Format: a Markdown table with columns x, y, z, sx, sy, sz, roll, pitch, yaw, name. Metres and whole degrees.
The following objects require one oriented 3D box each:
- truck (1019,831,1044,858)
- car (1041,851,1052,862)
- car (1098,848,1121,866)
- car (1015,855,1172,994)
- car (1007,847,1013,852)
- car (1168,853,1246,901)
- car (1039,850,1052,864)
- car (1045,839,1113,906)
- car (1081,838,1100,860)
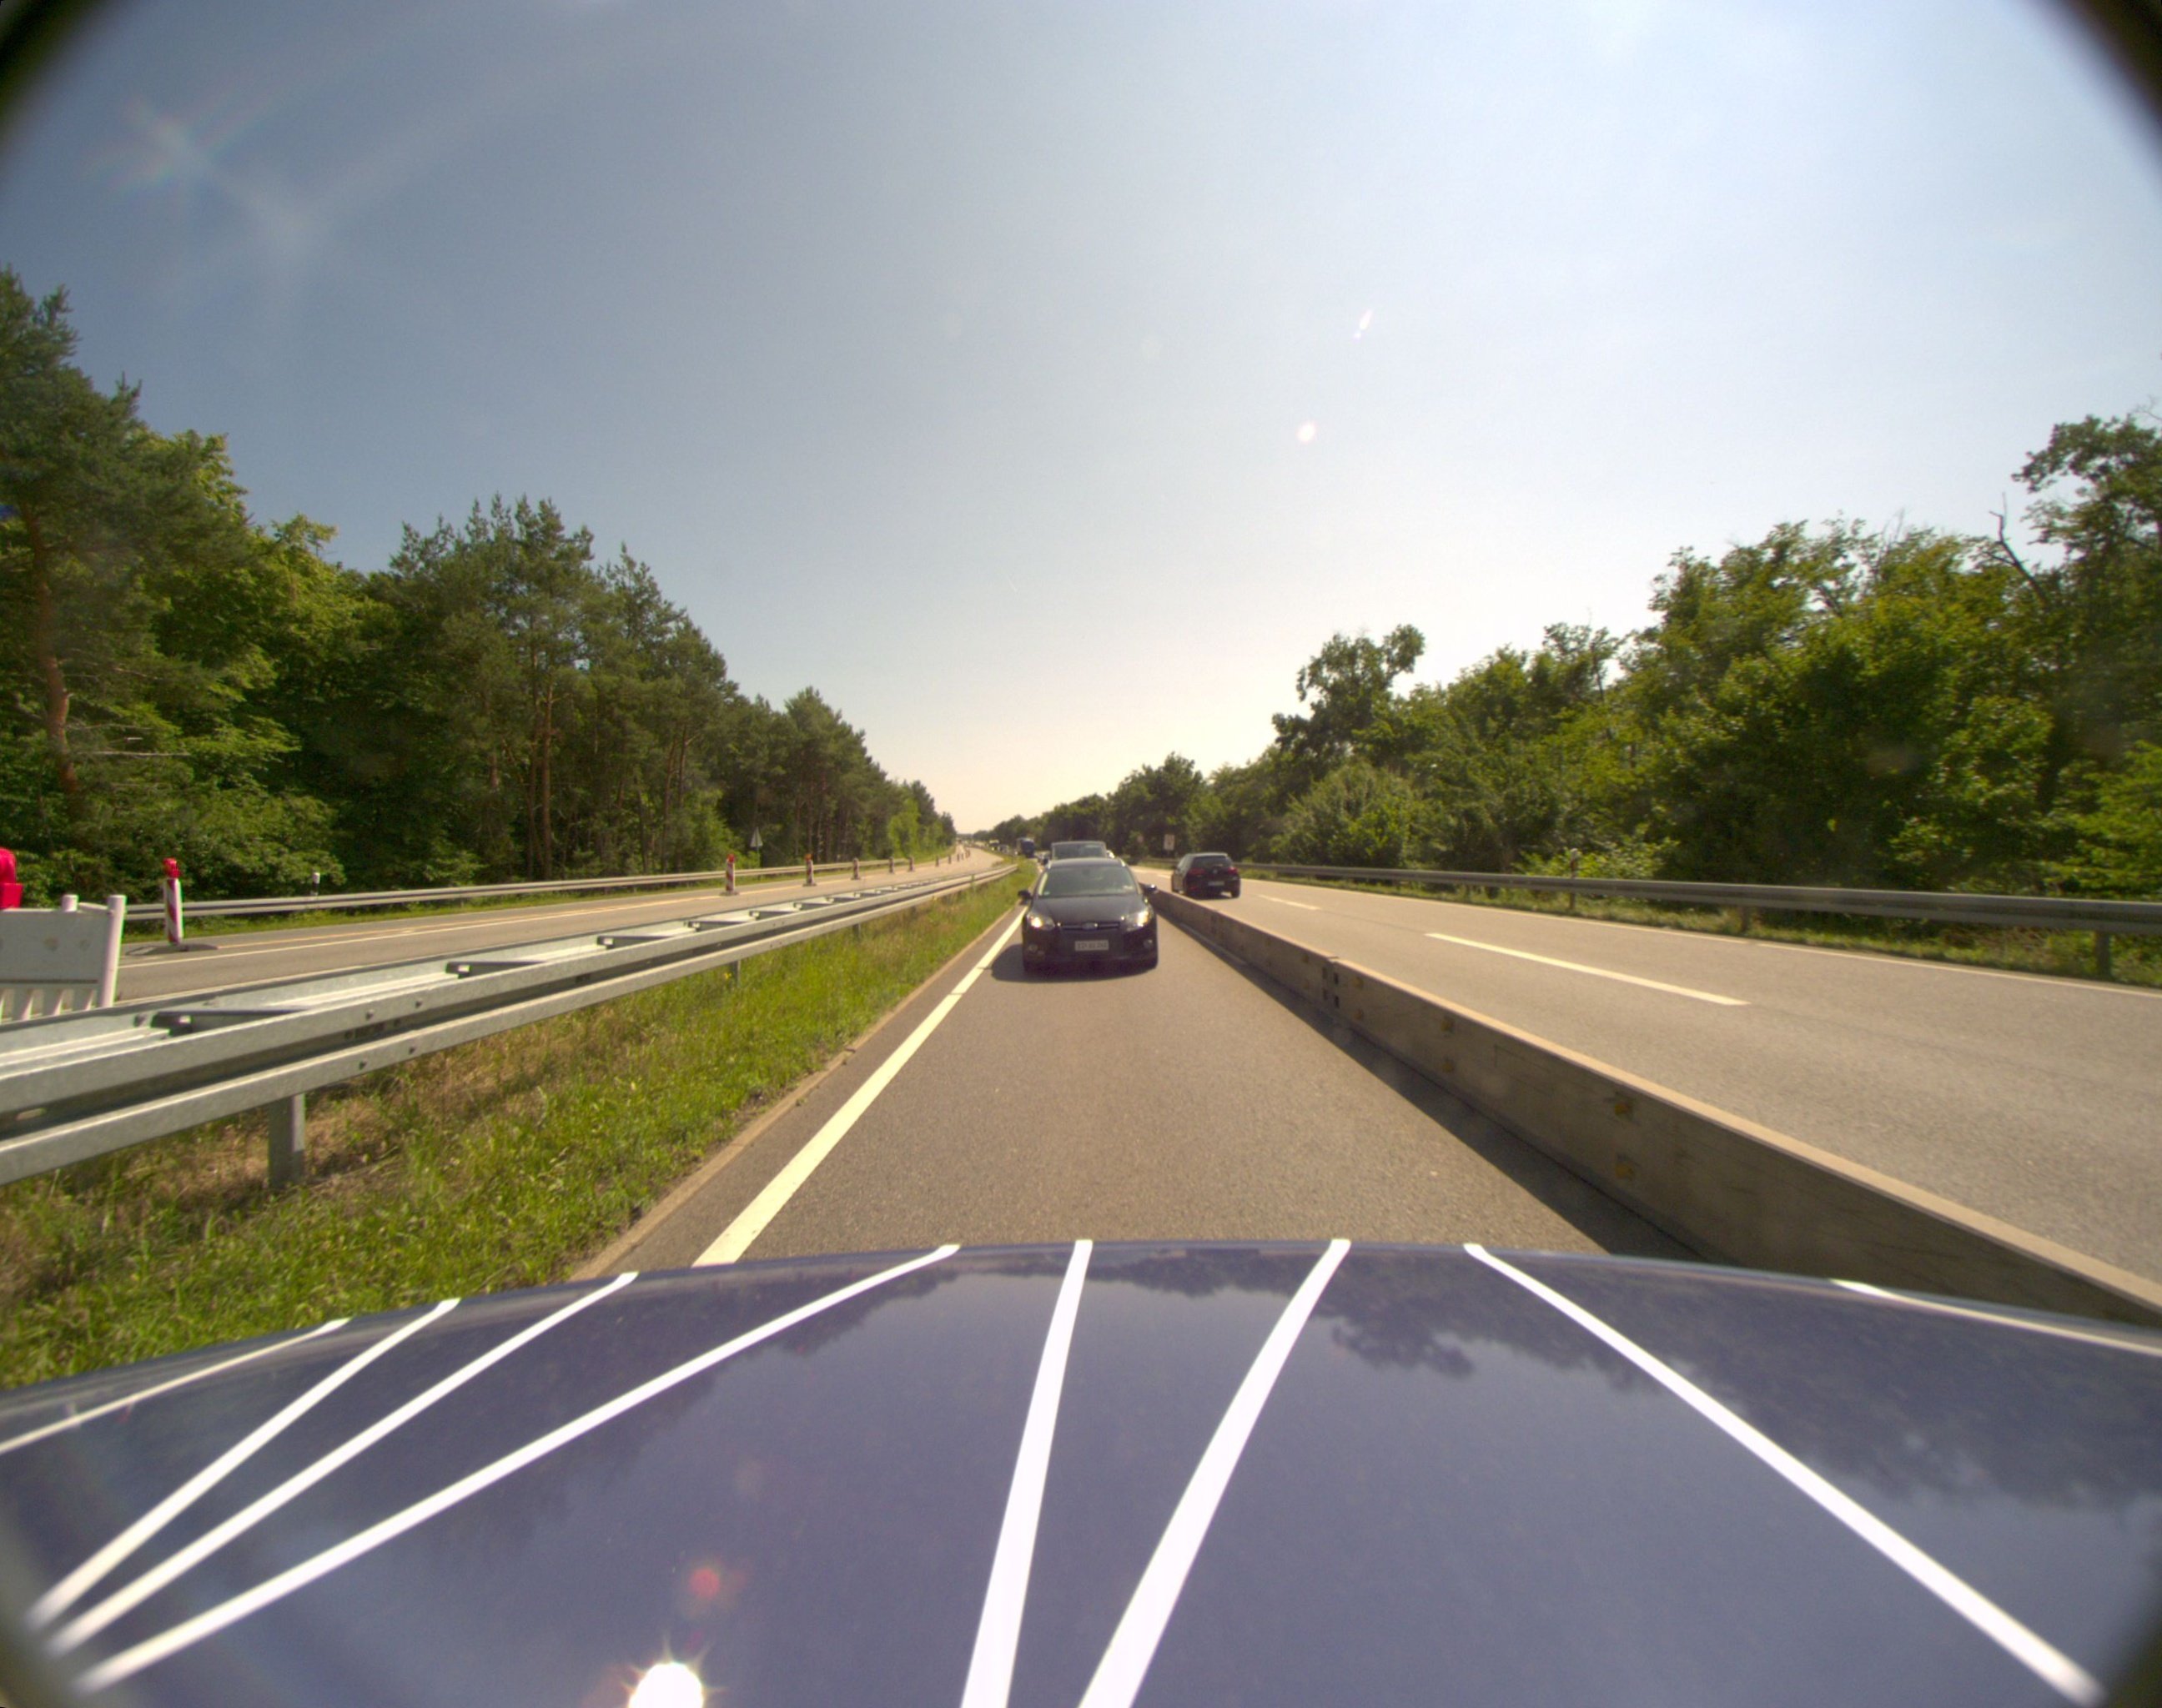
| x | y | z | sx | sy | sz | roll | pitch | yaw | name |
| --- | --- | --- | --- | --- | --- | --- | --- | --- | --- |
| -10.089 | -1.860 | 153.736 | 3.832 | 5.266 | 11.236 | -1 | 1 | -9 | truck |
| -5.038 | 0.323 | 110.205 | 1.527 | 1.647 | 3.753 | 0 | 0 | -3 | car |
| 2.583 | 0.236 | 69.863 | 1.853 | 1.592 | 4.321 | -1 | 1 | -1 | car |
| 0.025 | 0.853 | 11.650 | 1.847 | 1.537 | 4.933 | -2 | 1 | -3 | car |
| -21.644 | -1.347 | 231.027 | 1.528 | 1.647 | 3.978 | -1 | 0 | -7 | car |
| 4.093 | 0.703 | 25.359 | 1.820 | 1.416 | 4.108 | -2 | 0 | -1 | car |
| -4.339 | 0.306 | 92.890 | 1.527 | 1.647 | 3.979 | -1 | 0 | -3 | car |
| -0.104 | 0.514 | 25.424 | 1.960 | 1.902 | 4.933 | -2 | 1 | -1 | car |
| 1.135 | -0.593 | 92.201 | 2.067 | 2.471 | 5.559 | -2 | 1 | -2 | car |
